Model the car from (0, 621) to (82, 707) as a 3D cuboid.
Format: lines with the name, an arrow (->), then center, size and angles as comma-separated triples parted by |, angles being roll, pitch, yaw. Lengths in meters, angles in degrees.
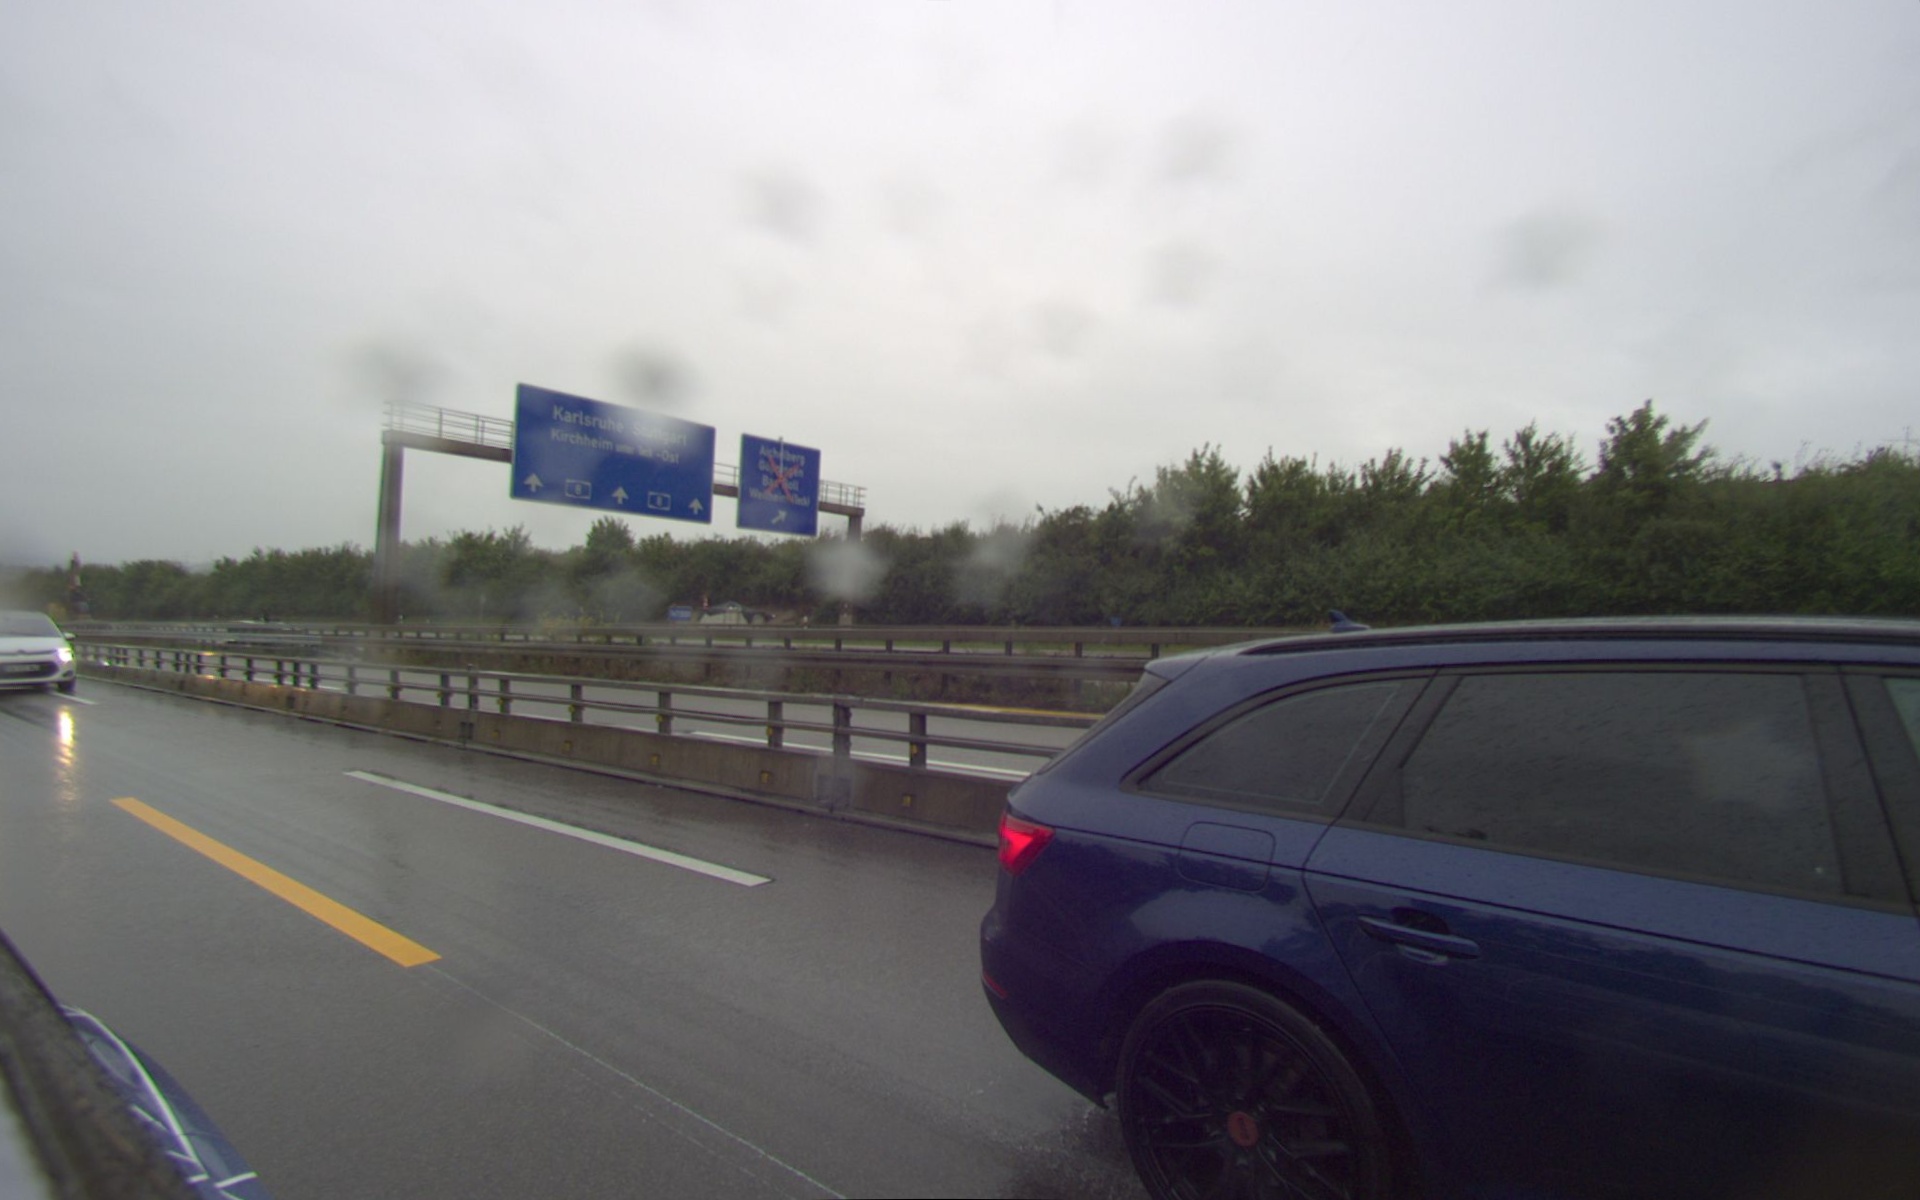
car -> -19.482, 1.277, 20.502 | 4.306, 1.608, 1.953 | -3, -2, 41

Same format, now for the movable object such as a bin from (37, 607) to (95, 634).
movable object such as a bin -> -99.660, 2.278, 112.771 | 6.321, 2.819, 3.729 | -1, 0, 38

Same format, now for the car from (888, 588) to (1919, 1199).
car -> 2.176, 0.729, 1.992 | 4.629, 1.509, 1.972 | -1, 0, 42
